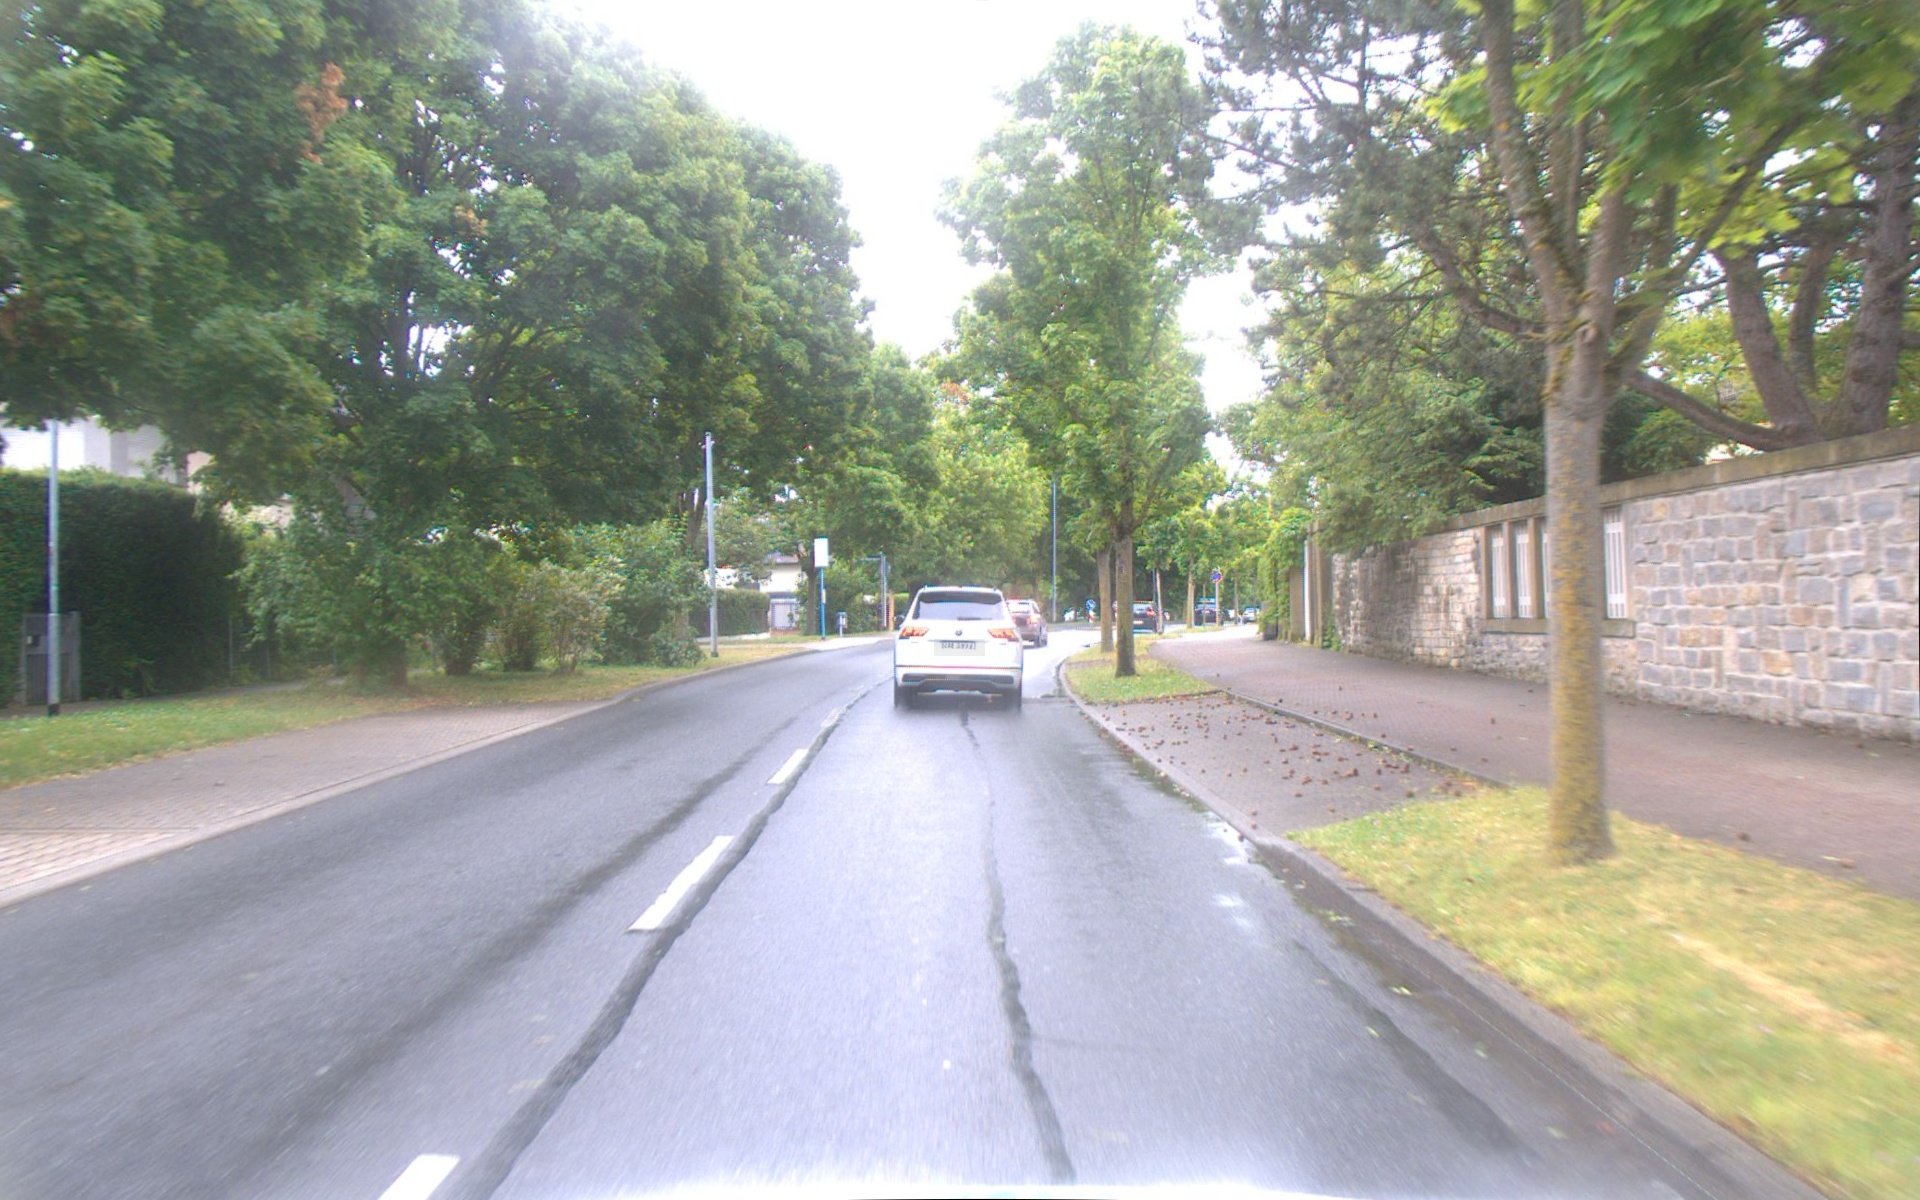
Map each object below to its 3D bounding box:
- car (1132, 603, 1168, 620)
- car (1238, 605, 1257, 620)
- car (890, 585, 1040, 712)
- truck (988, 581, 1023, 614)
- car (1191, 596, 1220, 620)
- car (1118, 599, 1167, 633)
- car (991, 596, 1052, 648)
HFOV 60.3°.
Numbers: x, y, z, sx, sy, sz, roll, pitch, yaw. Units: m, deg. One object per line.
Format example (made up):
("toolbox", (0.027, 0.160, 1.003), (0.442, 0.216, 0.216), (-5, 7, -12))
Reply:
("car", (18.113, 1.111, 157.492), (1.814, 1.508, 3.976), (-1, -1, -20))
("car", (27.026, 1.171, 155.606), (1.602, 1.349, 4.003), (1, 0, 12))
("car", (-0.008, 0.648, 24.011), (1.957, 1.660, 3.998), (1, 0, -2))
("truck", (3.875, -0.209, 139.117), (2.236, 2.642, 5.878), (-1, -1, 8))
("car", (16.641, 0.542, 112.167), (1.801, 1.513, 4.003), (-3, -1, 8))
("car", (8.655, 0.754, 78.344), (1.801, 1.513, 4.003), (2, 0, 13))
("car", (2.006, 0.702, 52.976), (1.802, 1.513, 4.001), (-3, -1, 3))
